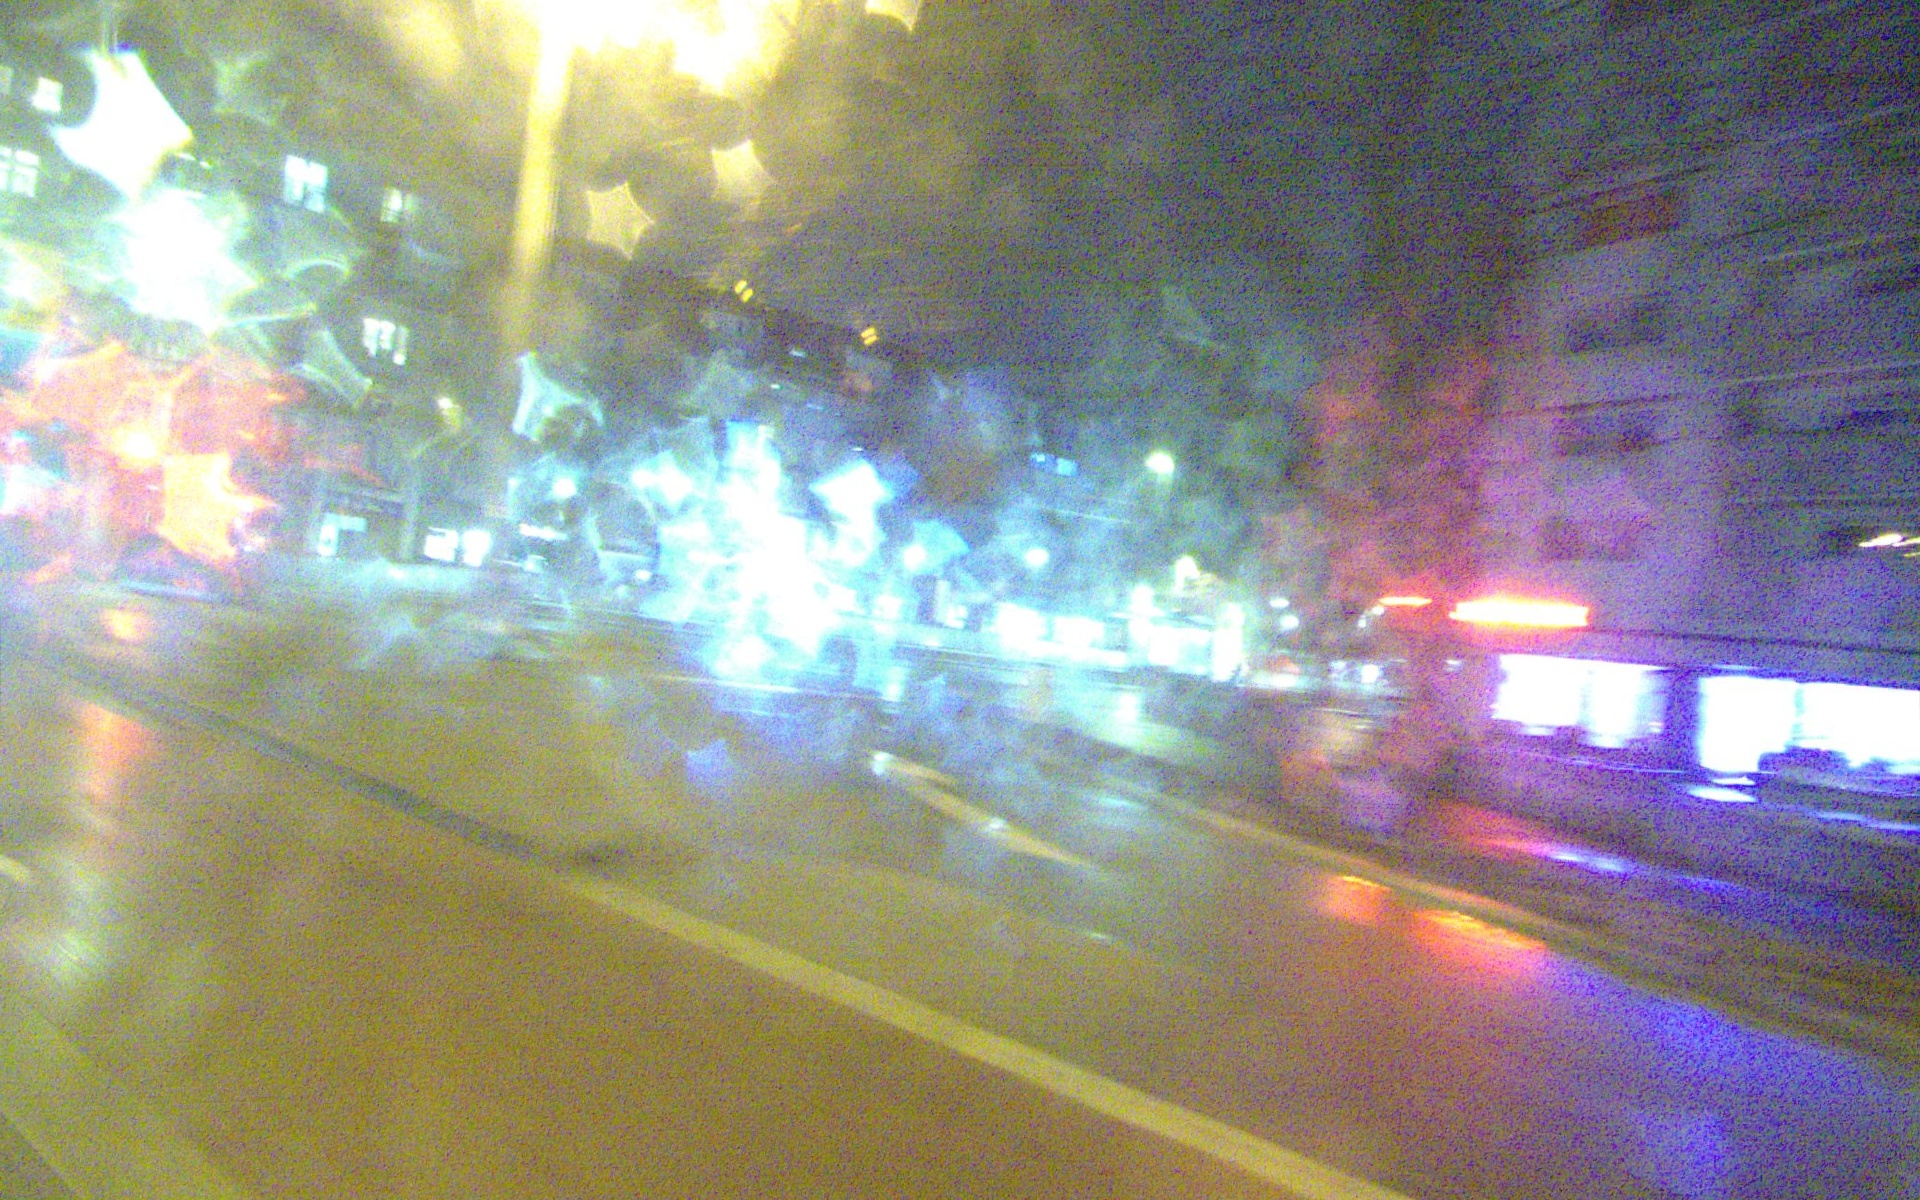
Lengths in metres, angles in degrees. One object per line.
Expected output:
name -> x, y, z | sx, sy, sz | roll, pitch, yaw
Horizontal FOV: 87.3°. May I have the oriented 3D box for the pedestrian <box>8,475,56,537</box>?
pedestrian -> -33.656, -3.415, 36.506 | 0.968, 2.039, 1.006 | 7, 3, -33
